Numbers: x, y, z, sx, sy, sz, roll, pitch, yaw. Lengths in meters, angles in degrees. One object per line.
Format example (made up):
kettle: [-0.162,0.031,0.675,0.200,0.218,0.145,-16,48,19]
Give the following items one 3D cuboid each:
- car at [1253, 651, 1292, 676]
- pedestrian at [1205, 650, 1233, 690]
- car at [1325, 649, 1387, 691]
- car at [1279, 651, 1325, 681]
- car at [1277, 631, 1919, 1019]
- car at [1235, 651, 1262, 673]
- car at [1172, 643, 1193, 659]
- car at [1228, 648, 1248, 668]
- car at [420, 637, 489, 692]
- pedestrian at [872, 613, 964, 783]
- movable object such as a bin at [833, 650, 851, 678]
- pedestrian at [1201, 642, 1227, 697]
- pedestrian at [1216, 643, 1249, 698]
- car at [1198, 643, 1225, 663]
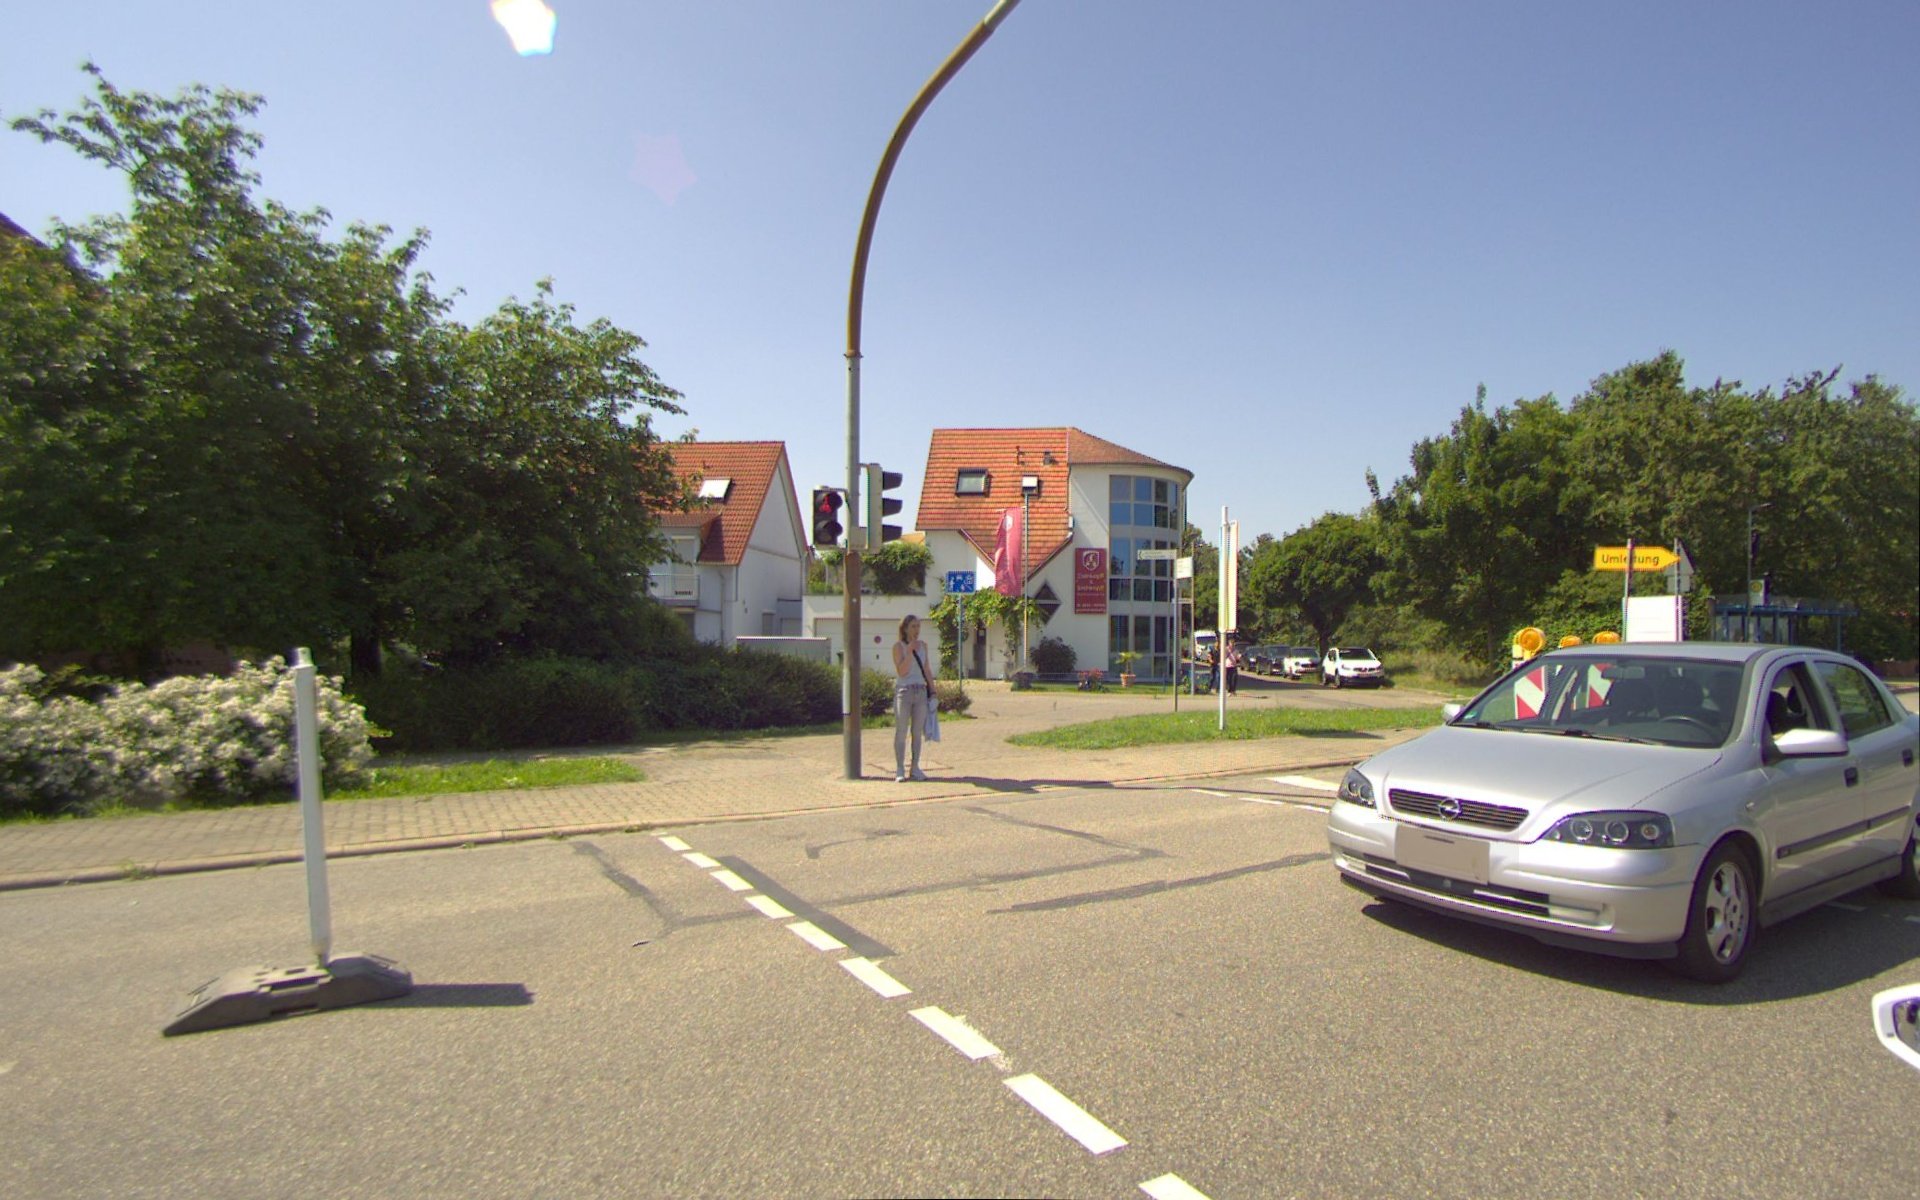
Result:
car: [16.954,3.444,54.544,1.423,1.220,3.562,0,-2,7]
pedestrian: [10.387,2.790,40.329,0.906,1.587,0.790,0,-2,-3]
car: [16.037,2.805,40.857,1.769,1.589,3.585,0,-2,12]
car: [16.746,3.212,49.318,1.649,1.365,3.383,0,-2,11]
car: [3.732,0.903,5.497,3.936,1.422,1.690,2,-2,-32]
car: [17.296,3.690,60.278,1.203,1.244,2.944,0,-2,10]
car: [21.787,4.948,98.408,1.659,1.512,3.503,0,-2,7]
car: [19.046,3.960,68.869,1.276,1.259,2.955,0,-2,14]
car: [-15.738,1.955,31.363,1.780,1.480,3.973,1,-1,-26]
pedestrian: [-0.431,0.960,10.191,0.680,1.629,0.611,1,1,-30]
movable object such as a bin: [-4.476,2.421,38.116,0.558,1.076,0.395,2,-2,-38]
pedestrian: [8.632,2.344,34.164,0.695,1.845,0.805,0,-1,0]
pedestrian: [8.843,2.274,32.596,0.799,1.763,0.960,0,-1,0]
car: [19.851,4.190,79.471,1.659,1.512,3.503,0,-2,7]
